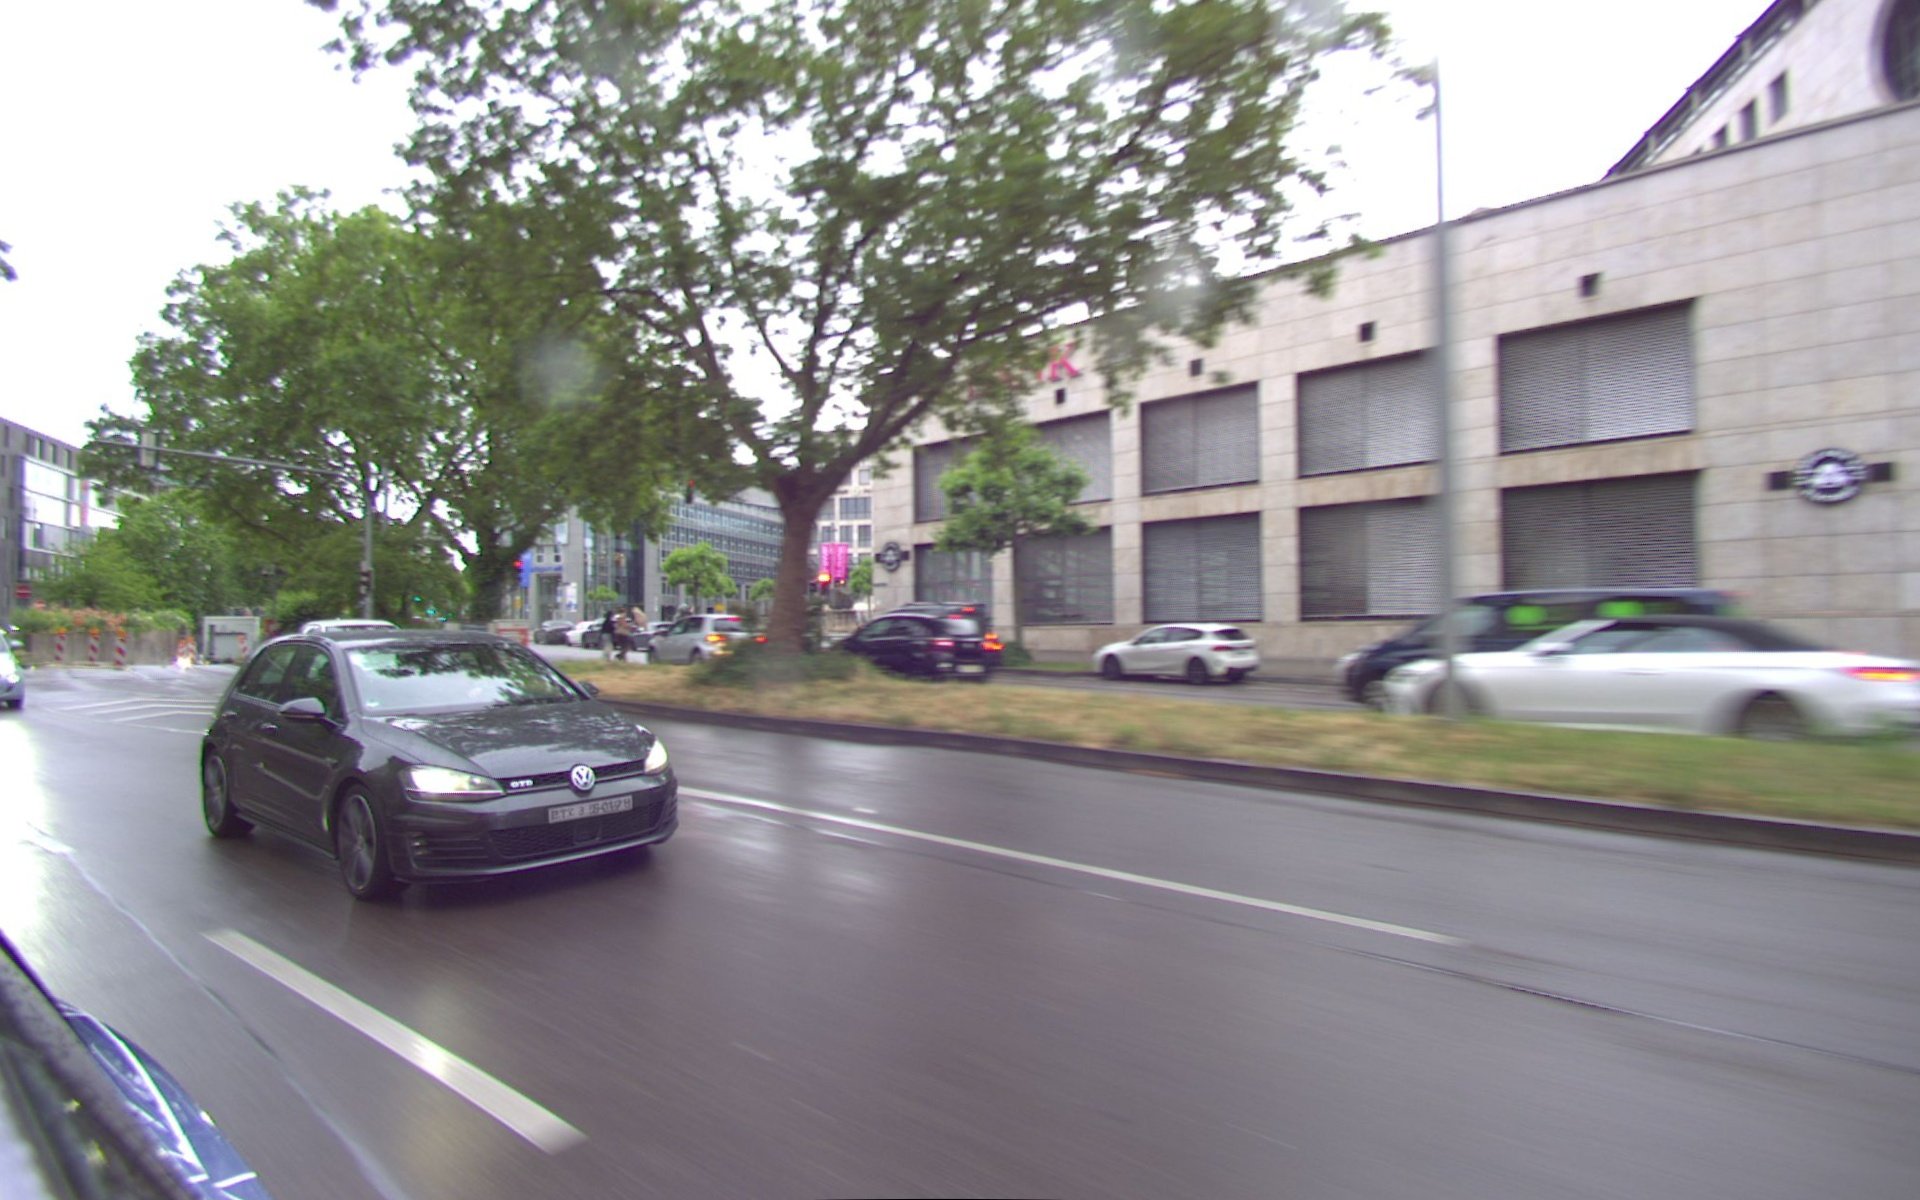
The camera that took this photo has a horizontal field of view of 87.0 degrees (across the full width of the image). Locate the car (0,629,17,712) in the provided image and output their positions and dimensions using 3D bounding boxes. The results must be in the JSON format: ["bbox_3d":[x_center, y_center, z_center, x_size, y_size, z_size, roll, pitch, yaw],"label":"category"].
[{"bbox_3d":[-18.453,1.284,18.476,3.494,1.452,1.590,-2,-1,43],"label":"car"}]

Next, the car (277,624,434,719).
[{"bbox_3d":[-11.761,1.279,19.581,1.756,1.608,4.003,1,-1,-44],"label":"car"}]

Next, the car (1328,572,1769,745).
[{"bbox_3d":[8.057,0.721,14.324,1.809,2.017,5.109,2,-2,-43],"label":"car"}]

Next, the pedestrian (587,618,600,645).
[{"bbox_3d":[-25.277,2.159,69.830,0.737,1.803,0.424,-1,-1,-15],"label":"pedestrian"}]

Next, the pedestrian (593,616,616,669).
[{"bbox_3d":[-11.033,1.314,31.405,0.551,1.626,0.421,-2,-2,25],"label":"pedestrian"}]

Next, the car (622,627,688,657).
[{"bbox_3d":[-15.277,2.092,50.606,1.818,1.392,4.050,1,-1,-38],"label":"car"}]

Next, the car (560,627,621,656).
[{"bbox_3d":[-21.562,2.389,58.921,1.981,1.545,4.444,1,-1,-39],"label":"car"}]

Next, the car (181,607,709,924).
[{"bbox_3d":[-3.609,0.814,6.729,4.121,1.463,1.765,-2,-2,42],"label":"car"}]

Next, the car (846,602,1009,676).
[{"bbox_3d":[-0.862,0.918,24.753,1.808,1.652,4.097,1,-2,-41],"label":"car"}]

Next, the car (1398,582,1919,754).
[{"bbox_3d":[7.206,0.613,10.768,1.838,1.453,4.317,2,-2,-43],"label":"car"}]

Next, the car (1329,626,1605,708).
[{"bbox_3d":[10.114,1.257,20.512,1.726,1.426,4.711,1,-2,-42],"label":"car"}]

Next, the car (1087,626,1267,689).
[{"bbox_3d":[5.431,1.397,25.720,1.726,1.426,4.299,1,-2,-41],"label":"car"}]

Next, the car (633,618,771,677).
[{"bbox_3d":[-6.651,1.150,25.851,1.726,1.375,4.136,1,-2,-41],"label":"car"}]

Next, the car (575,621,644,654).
[{"bbox_3d":[-18.918,1.981,54.537,1.968,1.664,4.735,1,-2,-40],"label":"car"}]

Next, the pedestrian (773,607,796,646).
[{"bbox_3d":[-8.989,1.352,51.728,1.125,1.939,0.581,-2,-1,43],"label":"pedestrian"}]

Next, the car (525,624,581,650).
[{"bbox_3d":[-25.833,2.325,64.170,1.981,1.545,4.720,1,-1,-39],"label":"car"}]

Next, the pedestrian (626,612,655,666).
[{"bbox_3d":[-9.797,1.197,31.050,0.635,1.626,0.607,-1,-2,13],"label":"pedestrian"}]

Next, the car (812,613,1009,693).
[{"bbox_3d":[-1.042,0.955,19.513,1.726,1.375,3.949,1,-2,-41],"label":"car"}]

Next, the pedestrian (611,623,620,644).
[{"bbox_3d":[-27.216,2.636,80.037,0.570,1.639,0.563,0,-1,-8],"label":"pedestrian"}]

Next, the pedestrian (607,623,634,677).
[{"bbox_3d":[-10.459,1.532,31.176,0.635,1.626,0.446,-1,-2,13],"label":"pedestrian"}]

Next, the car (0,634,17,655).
[{"bbox_3d":[-83.668,3.855,88.196,1.968,1.757,3.916,1,-2,-40],"label":"car"}]
